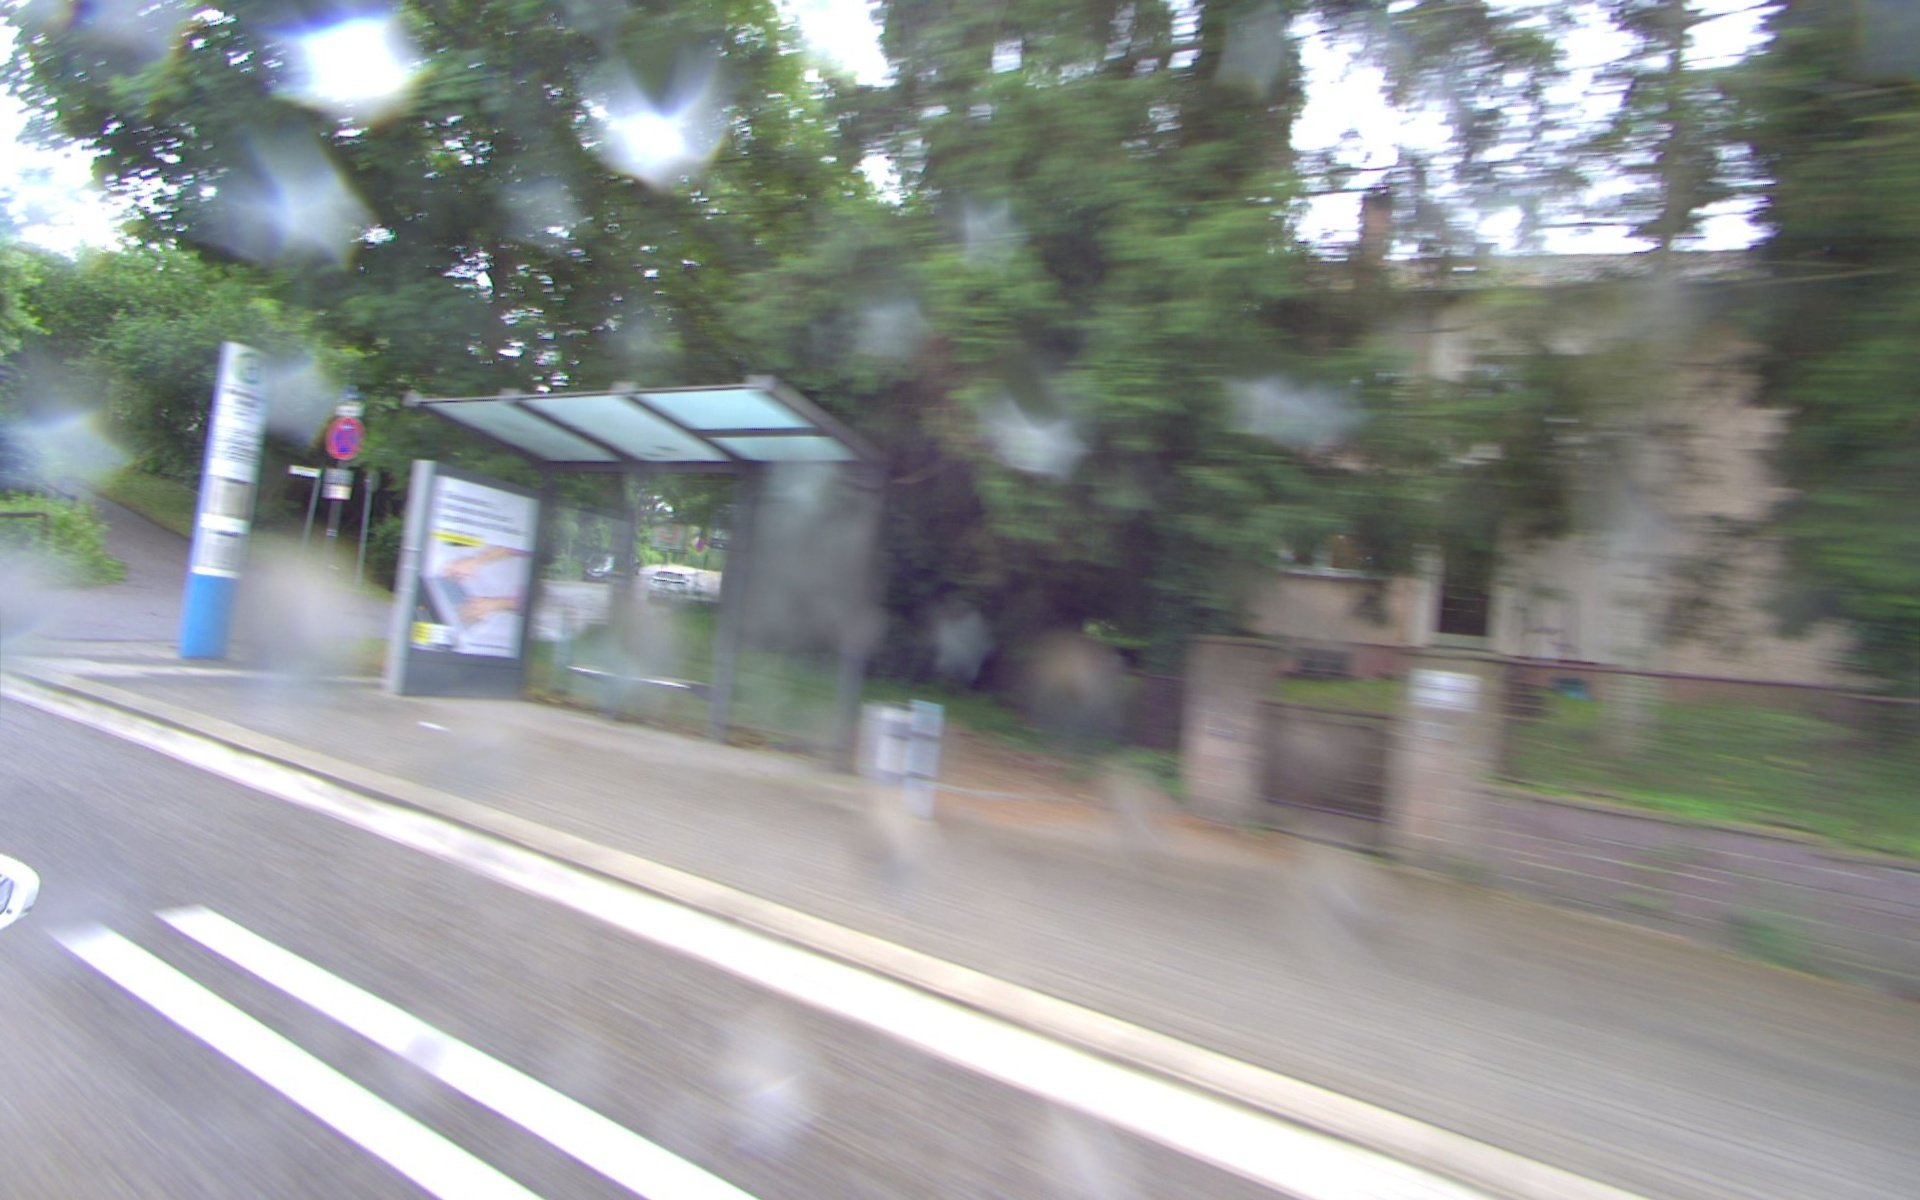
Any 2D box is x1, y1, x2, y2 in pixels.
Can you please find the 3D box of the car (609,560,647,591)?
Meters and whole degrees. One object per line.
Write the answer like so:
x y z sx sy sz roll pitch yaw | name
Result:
-21.812 -1.589 66.220 1.968 1.614 3.994 6 -3 -14 | car

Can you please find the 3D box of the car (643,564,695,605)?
-14.020 -0.702 48.609 1.824 1.640 3.994 8 -1 -10 | car

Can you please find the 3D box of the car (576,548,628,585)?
-20.665 -1.927 58.182 1.965 1.614 3.999 6 -3 -8 | car
